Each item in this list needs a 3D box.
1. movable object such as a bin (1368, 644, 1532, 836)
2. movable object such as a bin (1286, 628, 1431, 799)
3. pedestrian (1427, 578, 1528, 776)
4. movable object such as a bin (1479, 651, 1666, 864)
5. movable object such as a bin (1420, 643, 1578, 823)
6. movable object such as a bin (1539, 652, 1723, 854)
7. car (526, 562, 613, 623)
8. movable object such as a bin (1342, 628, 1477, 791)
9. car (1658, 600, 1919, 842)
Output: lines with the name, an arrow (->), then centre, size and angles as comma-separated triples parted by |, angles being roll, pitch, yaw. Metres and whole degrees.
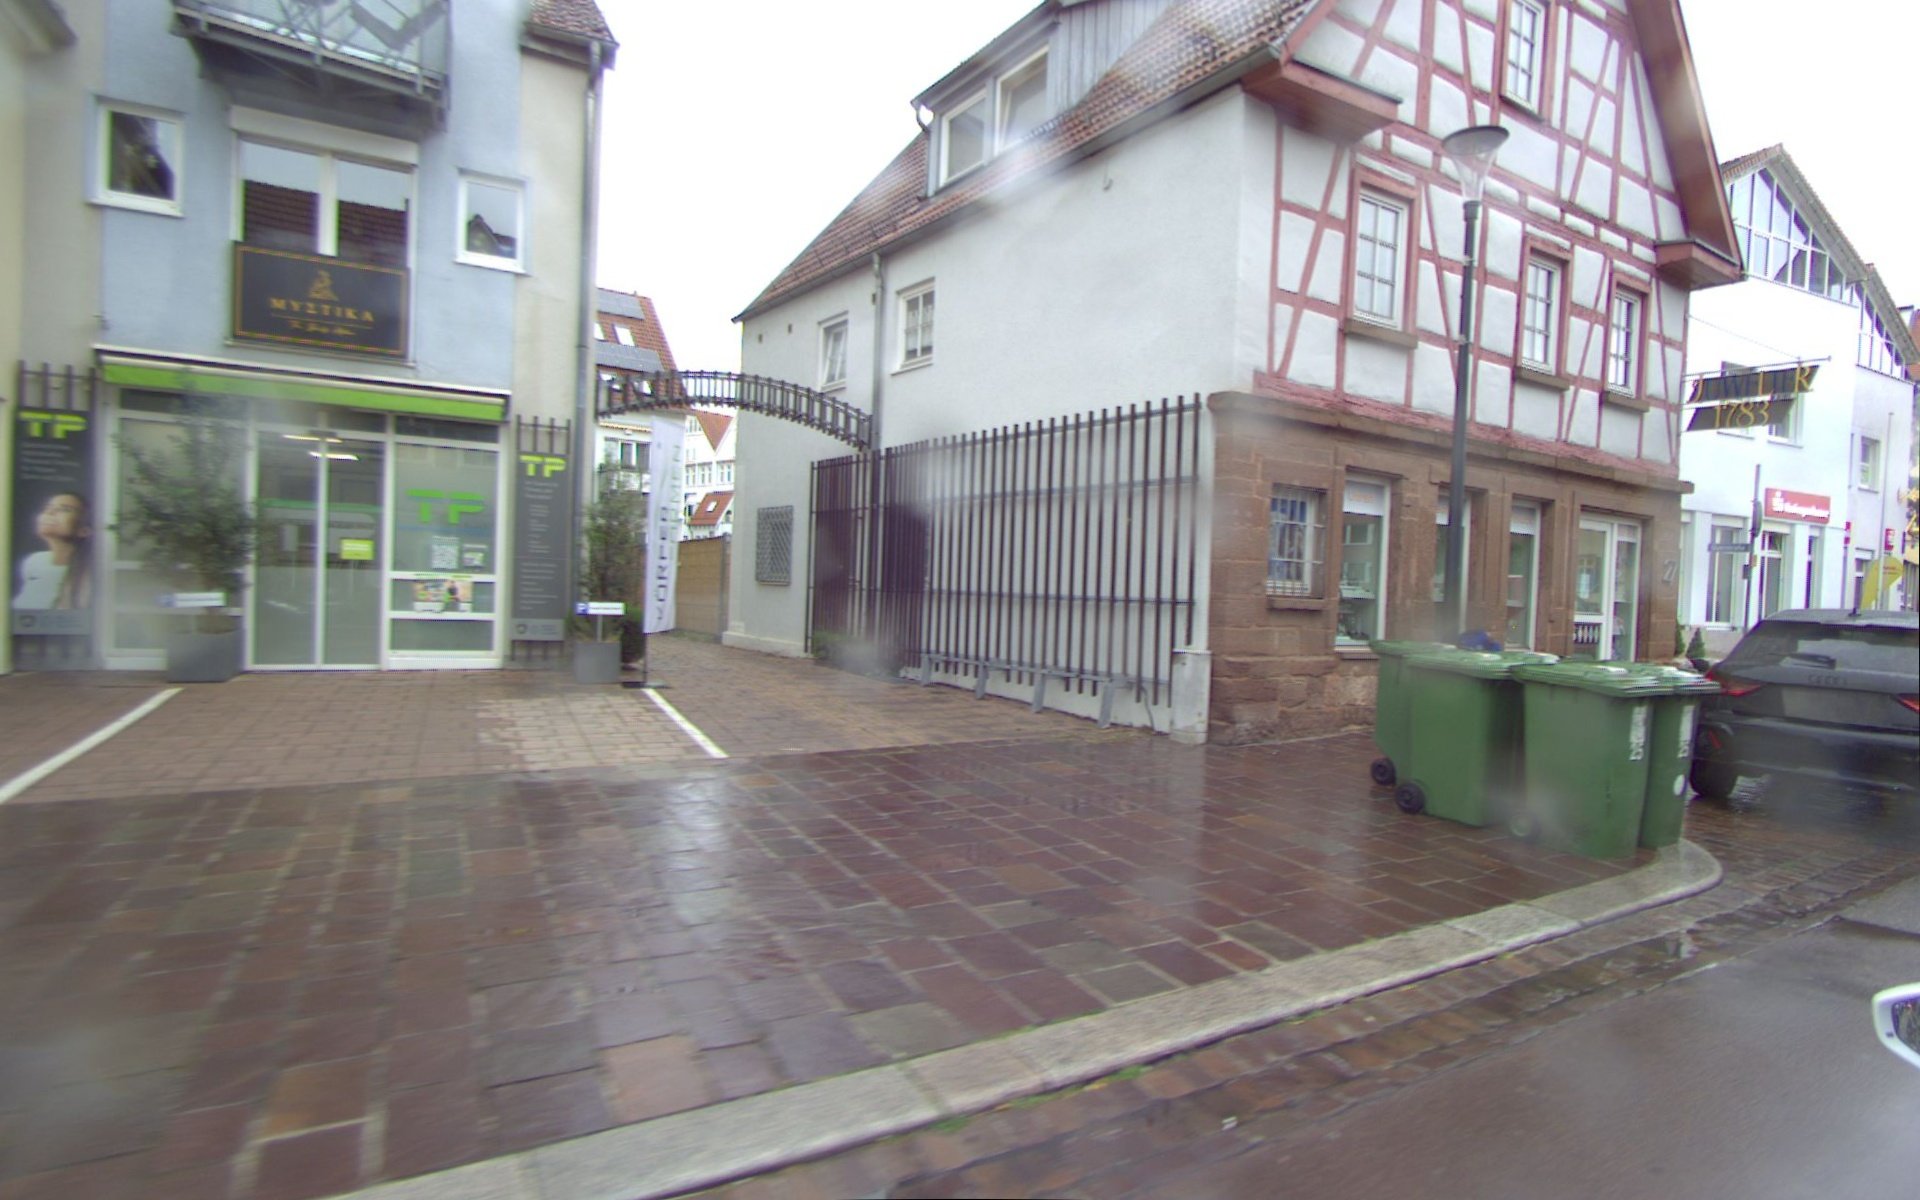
movable object such as a bin -> 3.231, 0.888, 6.650 | 0.590, 1.125, 0.721 | 2, 1, -33
movable object such as a bin -> 2.888, 0.795, 7.310 | 0.590, 1.125, 0.721 | 2, 1, -33
pedestrian -> 4.749, 0.687, 9.229 | 0.572, 1.734, 0.515 | 2, 1, -32
movable object such as a bin -> 3.676, 0.905, 6.054 | 0.590, 1.125, 0.721 | 2, 1, -33
movable object such as a bin -> 3.752, 0.893, 7.015 | 0.590, 1.125, 0.721 | 2, 1, -33
movable object such as a bin -> 4.236, 0.926, 6.357 | 0.638, 1.125, 0.721 | 2, 1, -33
car -> -10.787, -0.236, 27.591 | 1.841, 1.472, 3.749 | 3, 1, -27
movable object such as a bin -> 3.412, 0.806, 7.643 | 0.609, 1.125, 0.656 | 2, 1, -33
car -> 7.297, 0.774, 8.019 | 3.965, 1.515, 1.774 | 0, 1, -39
